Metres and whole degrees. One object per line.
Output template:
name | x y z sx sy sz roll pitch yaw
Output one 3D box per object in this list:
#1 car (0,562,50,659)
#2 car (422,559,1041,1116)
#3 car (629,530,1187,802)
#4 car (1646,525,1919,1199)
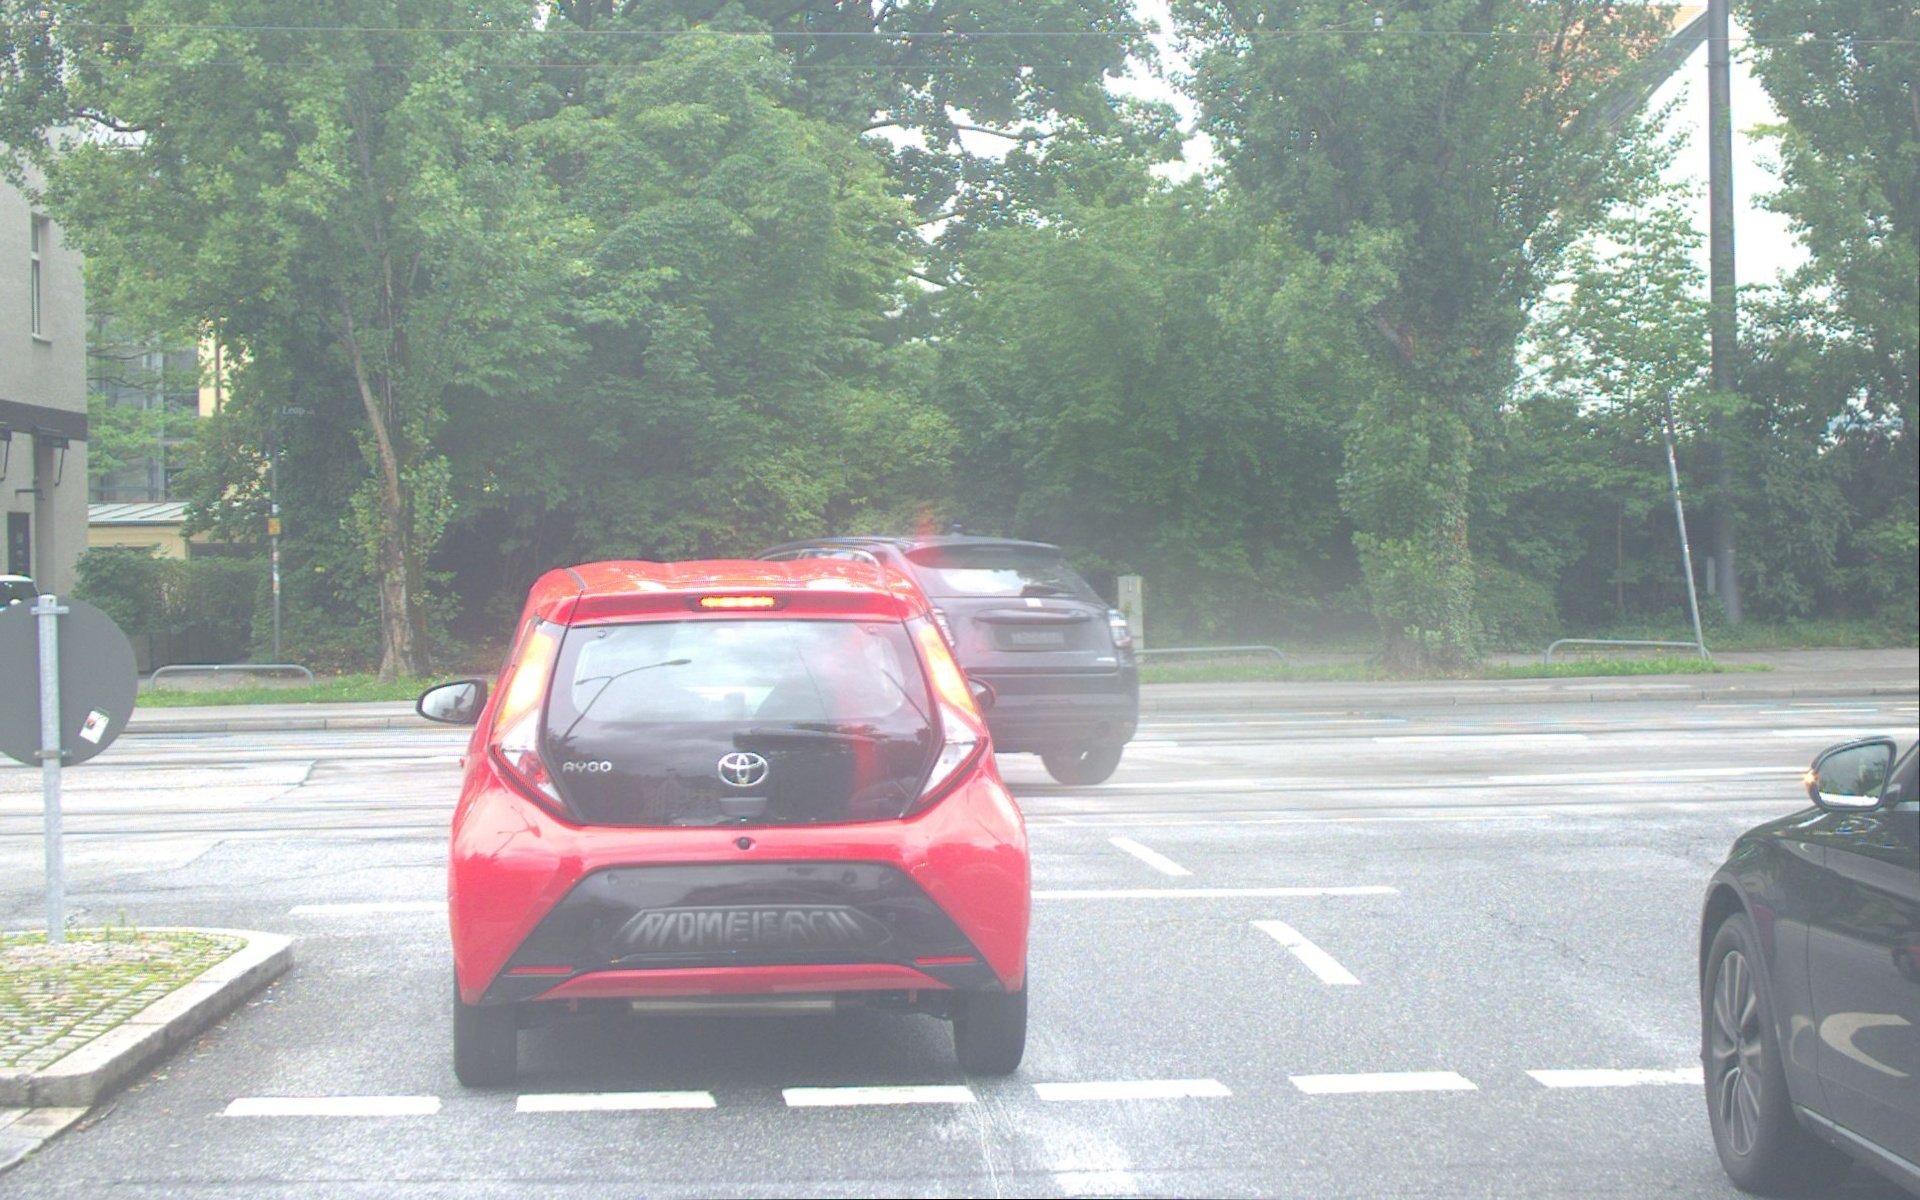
car | -15.458 0.152 53.591 1.725 1.437 4.001 -1 1 -4
car | -0.812 0.607 10.844 1.628 1.435 3.377 -1 1 -7
car | -0.430 0.357 21.096 1.780 1.481 4.000 -1 1 -28
car | 2.696 0.648 6.300 1.863 1.544 4.704 1 1 -1
